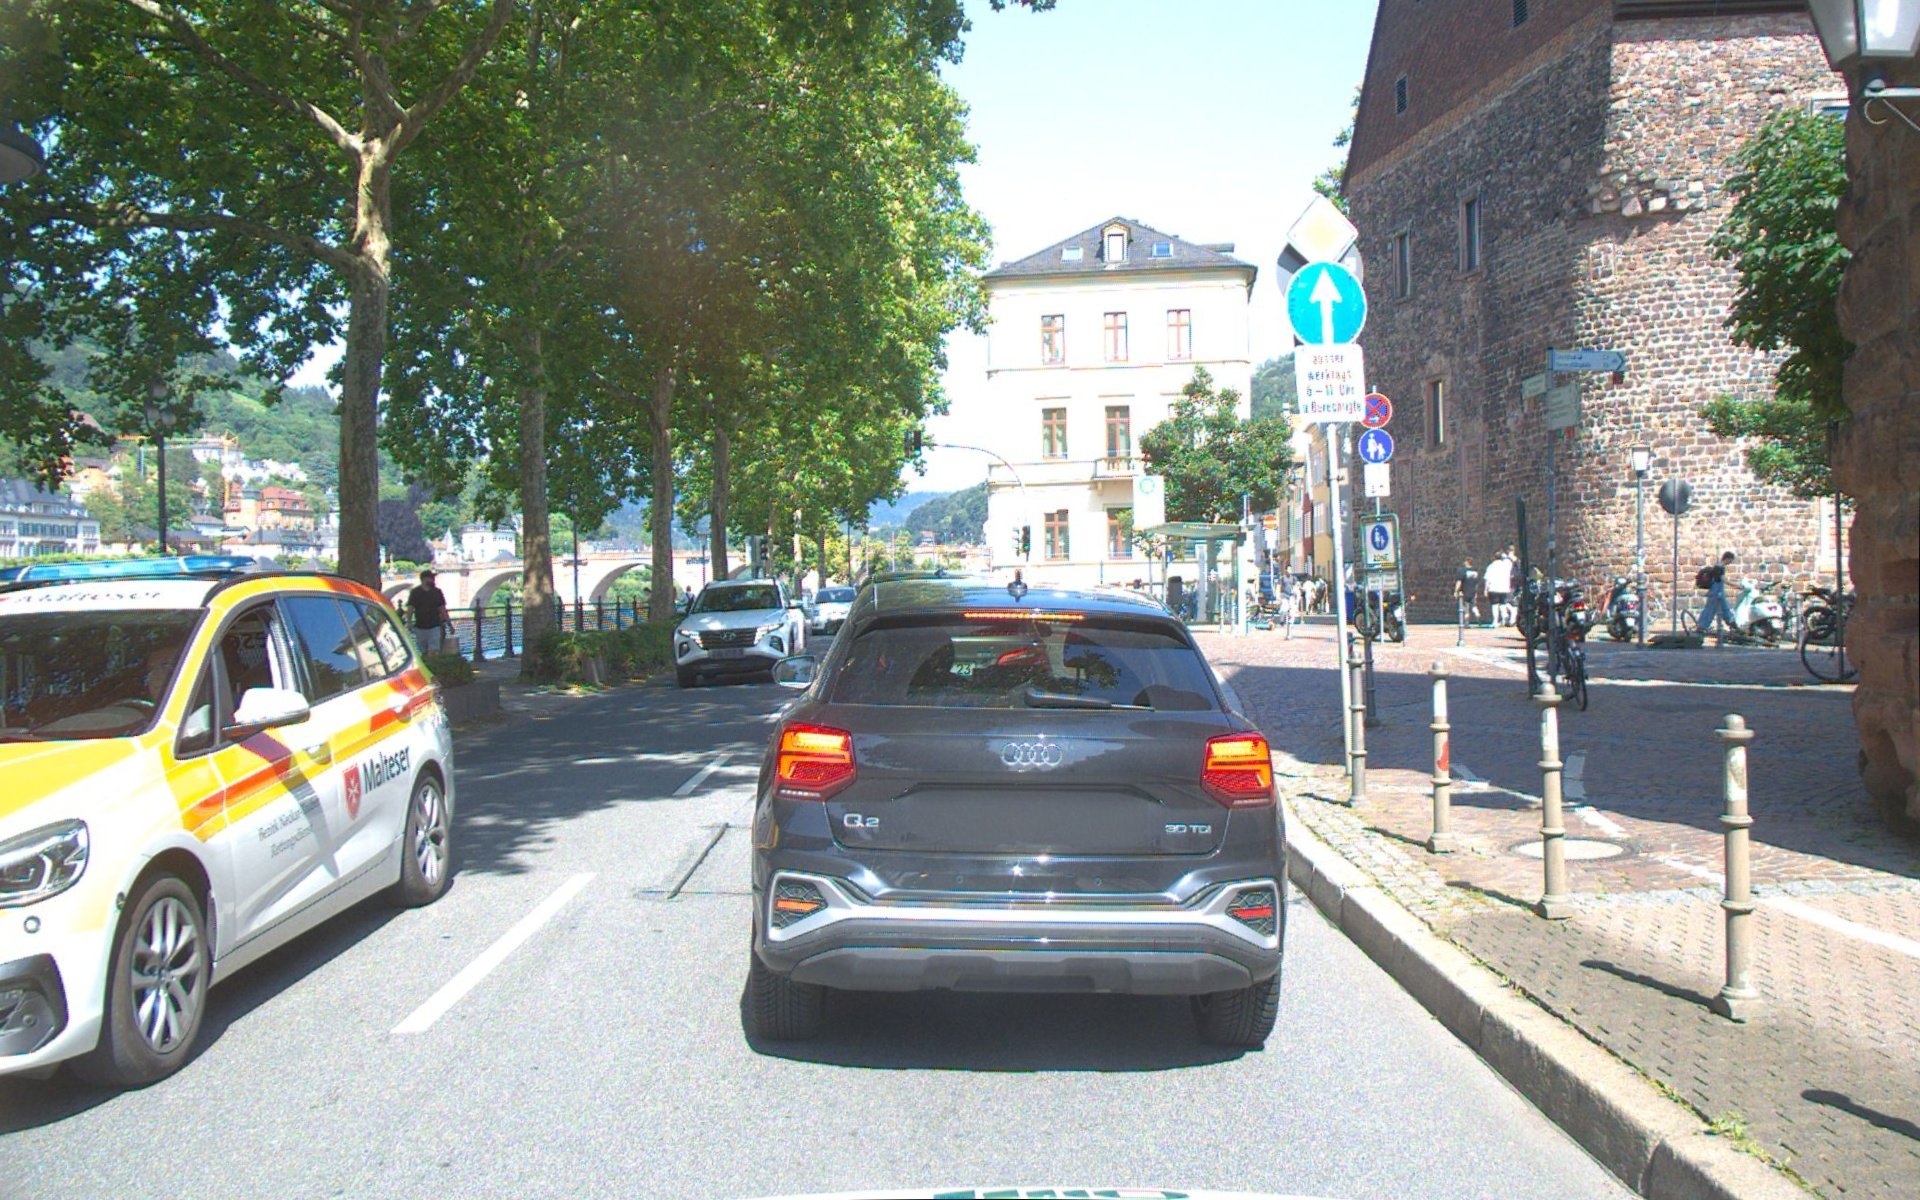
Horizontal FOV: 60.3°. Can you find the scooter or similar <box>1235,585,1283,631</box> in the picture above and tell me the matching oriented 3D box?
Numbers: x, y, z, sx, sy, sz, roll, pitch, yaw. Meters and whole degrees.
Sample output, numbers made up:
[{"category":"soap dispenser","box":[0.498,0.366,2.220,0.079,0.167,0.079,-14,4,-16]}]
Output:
[{"category":"scooter or similar","box":[7.146,0.184,39.505,1.067,1.084,0.323,1,-1,-3]}]

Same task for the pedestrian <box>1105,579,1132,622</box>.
[{"category":"pedestrian","box":[4.686,0.014,48.905,0.651,1.253,0.640,1,-1,-7]}]

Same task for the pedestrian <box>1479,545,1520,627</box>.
[{"category":"pedestrian","box":[13.674,-0.351,41.940,0.715,2.049,0.878,1,-1,-1]}]

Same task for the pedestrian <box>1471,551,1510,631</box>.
[{"category":"pedestrian","box":[12.991,-0.218,40.484,0.655,1.917,0.821,1,-1,-2]}]

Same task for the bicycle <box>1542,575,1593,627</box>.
[{"category":"bicycle","box":[14.808,0.028,40.326,0.381,1.230,1.715,1,0,-9]}]

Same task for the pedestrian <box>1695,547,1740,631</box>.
[{"category":"pedestrian","box":[15.480,-0.218,33.800,0.791,1.691,0.656,-1,0,23]}]

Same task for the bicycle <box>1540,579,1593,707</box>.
[{"category":"bicycle","box":[6.163,0.401,16.847,0.189,1.225,1.771,0,1,10]}]

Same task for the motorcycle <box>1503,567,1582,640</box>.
[{"category":"motorcycle","box":[10.593,0.066,30.153,0.642,1.288,2.199,0,0,-1]}]

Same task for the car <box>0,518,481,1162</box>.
[{"category":"car","box":[-3.305,0.663,6.434,1.639,1.689,4.222,-3,0,-1]}]

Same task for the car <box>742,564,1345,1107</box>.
[{"category":"car","box":[0.216,0.659,6.574,1.707,1.535,3.646,1,1,-1]}]

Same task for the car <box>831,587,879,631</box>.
[{"category":"car","box":[-4.714,0.379,74.825,1.777,1.754,4.421,-6,1,-1]}]

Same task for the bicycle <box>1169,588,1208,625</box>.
[{"category":"bicycle","box":[6.783,0.194,49.070,1.184,1.053,0.178,1,-1,-20]}]

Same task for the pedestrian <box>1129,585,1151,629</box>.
[{"category":"pedestrian","box":[6.362,0.242,58.470,0.679,1.526,0.513,1,-1,-5]}]

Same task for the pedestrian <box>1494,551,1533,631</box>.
[{"category":"pedestrian","box":[13.684,-0.221,40.870,0.655,1.954,0.821,1,-1,-2]}]

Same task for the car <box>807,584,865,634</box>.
[{"category":"car","box":[-4.331,0.290,58.343,1.703,1.599,4.091,-4,1,-1]}]

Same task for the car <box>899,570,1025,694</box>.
[{"category":"car","box":[0.002,0.407,23.740,1.676,1.637,3.654,0,0,-1]}]

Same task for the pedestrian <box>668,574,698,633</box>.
[{"category":"pedestrian","box":[-9.621,0.124,57.549,0.891,2.049,0.586,1,-1,3]}]

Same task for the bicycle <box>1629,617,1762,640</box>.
[{"category":"bicycle","box":[12.306,0.473,27.732,1.887,0.388,0.918,0,-1,14]}]

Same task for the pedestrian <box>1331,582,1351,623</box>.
[{"category":"pedestrian","box":[15.624,0.094,67.769,0.676,1.640,0.892,-2,0,18]}]

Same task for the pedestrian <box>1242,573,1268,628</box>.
[{"category":"pedestrian","box":[7.605,0.018,42.649,0.546,1.409,0.588,1,-1,1]}]

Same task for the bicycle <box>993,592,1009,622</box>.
[{"category":"bicycle","box":[1.530,0.254,62.020,0.428,1.105,1.675,1,0,-5]}]

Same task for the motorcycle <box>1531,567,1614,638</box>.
[{"category":"motorcycle","box":[11.436,0.053,30.949,0.661,1.257,2.312,1,0,-1]}]

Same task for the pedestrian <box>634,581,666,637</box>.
[{"category":"pedestrian","box":[-10.262,0.293,54.730,0.891,1.843,0.586,1,-1,3]}]

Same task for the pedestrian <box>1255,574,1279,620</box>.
[{"category":"pedestrian","box":[13.777,-0.134,74.210,0.925,2.049,0.807,1,-1,-1]}]

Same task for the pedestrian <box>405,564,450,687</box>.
[{"category":"pedestrian","box":[-8.384,0.396,26.039,0.523,1.920,0.436,1,0,-1]}]

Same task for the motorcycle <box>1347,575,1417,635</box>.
[{"category":"motorcycle","box":[7.691,0.078,30.249,0.555,1.030,2.489,-1,0,-2]}]

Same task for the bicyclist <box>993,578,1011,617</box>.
[{"category":"bicyclist","box":[1.576,-0.088,62.048,0.593,1.475,0.590,1,-1,-6]}]

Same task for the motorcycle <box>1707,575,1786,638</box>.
[{"category":"motorcycle","box":[14.020,0.121,29.528,0.496,1.092,1.839,1,0,-1]}]

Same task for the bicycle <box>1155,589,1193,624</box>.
[{"category":"bicycle","box":[6.416,0.200,49.652,1.166,1.033,0.178,1,-1,-20]}]

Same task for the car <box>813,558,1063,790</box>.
[{"category":"car","box":[-0.179,0.513,13.490,1.756,1.623,3.398,1,0,-1]}]

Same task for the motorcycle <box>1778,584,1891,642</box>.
[{"category":"motorcycle","box":[16.559,0.243,31.333,1.826,1.072,0.480,1,-1,7]}]

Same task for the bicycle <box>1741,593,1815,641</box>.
[{"category":"bicycle","box":[15.128,0.292,30.620,0.346,0.835,1.926,1,1,-2]}]

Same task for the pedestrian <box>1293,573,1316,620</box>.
[{"category":"pedestrian","box":[15.271,-0.161,73.335,0.822,2.049,0.738,1,-1,-1]}]

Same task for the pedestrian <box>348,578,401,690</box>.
[{"category":"pedestrian","box":[-9.115,0.521,25.771,0.589,1.715,0.583,-1,0,-2]}]

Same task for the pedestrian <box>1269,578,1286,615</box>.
[{"category":"pedestrian","box":[13.528,-0.154,70.459,0.611,1.558,0.465,1,-1,-8]}]

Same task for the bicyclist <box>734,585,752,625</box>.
[{"category":"bicyclist","box":[-7.313,0.169,55.666,0.555,1.334,0.551,1,-1,-5]}]

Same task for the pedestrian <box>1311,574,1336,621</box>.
[{"category":"pedestrian","box":[16.196,-0.118,73.688,0.921,2.049,0.807,1,-1,-1]}]

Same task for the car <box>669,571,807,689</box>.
[{"category":"car","box":[-3.592,0.444,27.408,1.733,1.689,3.999,-4,0,-1]}]

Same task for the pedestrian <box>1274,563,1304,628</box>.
[{"category":"pedestrian","box":[9.874,-0.138,49.660,0.732,1.923,0.752,1,-1,1]}]

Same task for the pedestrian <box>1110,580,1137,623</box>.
[{"category":"pedestrian","box":[4.748,0.037,48.090,0.651,1.233,0.640,1,-1,-7]}]

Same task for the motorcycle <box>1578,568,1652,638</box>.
[{"category":"motorcycle","box":[12.302,0.056,31.119,0.535,1.257,2.030,1,0,-1]}]

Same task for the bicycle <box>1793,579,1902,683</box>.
[{"category":"bicycle","box":[10.623,0.343,19.843,0.437,1.182,1.731,-1,1,3]}]

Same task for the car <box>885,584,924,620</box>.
[{"category":"car","box":[-2.991,0.119,89.886,1.952,1.838,4.000,1,0,1]}]

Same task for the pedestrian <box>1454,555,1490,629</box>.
[{"category":"pedestrian","box":[12.852,-0.196,41.540,0.639,1.834,0.847,0,0,-2]}]
